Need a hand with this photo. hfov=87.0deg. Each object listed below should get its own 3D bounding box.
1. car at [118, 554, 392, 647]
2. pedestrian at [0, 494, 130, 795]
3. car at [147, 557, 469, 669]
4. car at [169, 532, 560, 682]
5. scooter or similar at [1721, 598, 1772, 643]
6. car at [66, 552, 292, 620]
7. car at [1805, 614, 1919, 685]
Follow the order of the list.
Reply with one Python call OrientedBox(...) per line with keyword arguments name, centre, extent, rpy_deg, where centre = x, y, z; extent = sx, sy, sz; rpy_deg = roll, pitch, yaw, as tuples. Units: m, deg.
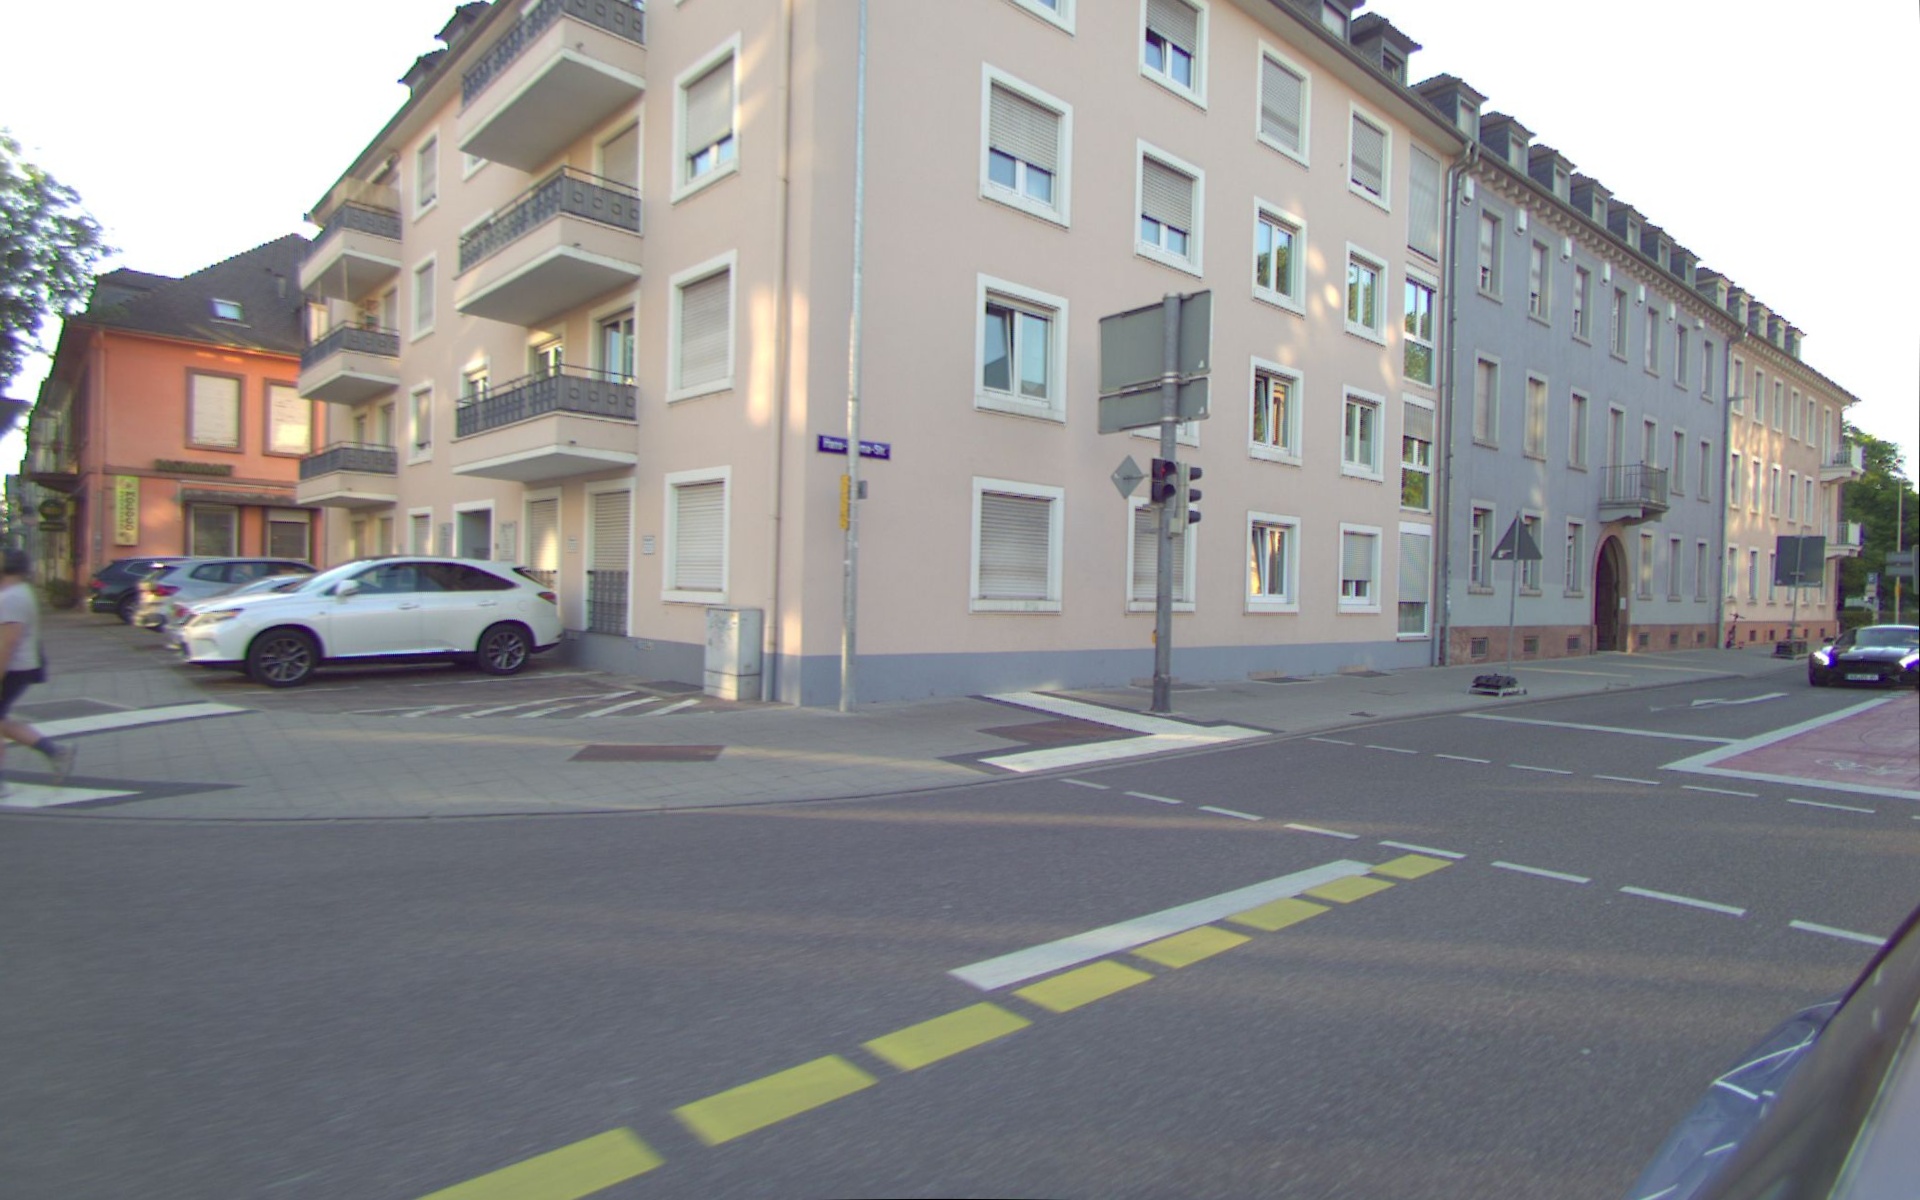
OrientedBox(name="car", centre=(-13.265, -0.078, 19.165), extent=(3.990, 1.565, 2.007), rpy_deg=(-2, 3, -44))
OrientedBox(name="pedestrian", centre=(-6.667, 0.292, 7.211), extent=(0.974, 2.039, 0.789), rpy_deg=(1, 0, -25))
OrientedBox(name="car", centre=(-10.110, 0.153, 15.860), extent=(3.962, 1.532, 1.921), rpy_deg=(0, 1, -44))
OrientedBox(name="car", centre=(-8.202, 0.058, 14.200), extent=(4.401, 1.771, 1.995), rpy_deg=(0, 1, -44))
OrientedBox(name="scooter or similar", centre=(27.202, 0.709, 34.997), extent=(1.638, 1.476, 0.729), rpy_deg=(1, 3, -30))
OrientedBox(name="car", centre=(-20.191, -0.435, 26.286), extent=(4.448, 1.616, 2.007), rpy_deg=(-2, 3, -44))
OrientedBox(name="car", centre=(19.699, 0.981, 21.342), extent=(4.280, 1.317, 2.182), rpy_deg=(0, -1, -40))
